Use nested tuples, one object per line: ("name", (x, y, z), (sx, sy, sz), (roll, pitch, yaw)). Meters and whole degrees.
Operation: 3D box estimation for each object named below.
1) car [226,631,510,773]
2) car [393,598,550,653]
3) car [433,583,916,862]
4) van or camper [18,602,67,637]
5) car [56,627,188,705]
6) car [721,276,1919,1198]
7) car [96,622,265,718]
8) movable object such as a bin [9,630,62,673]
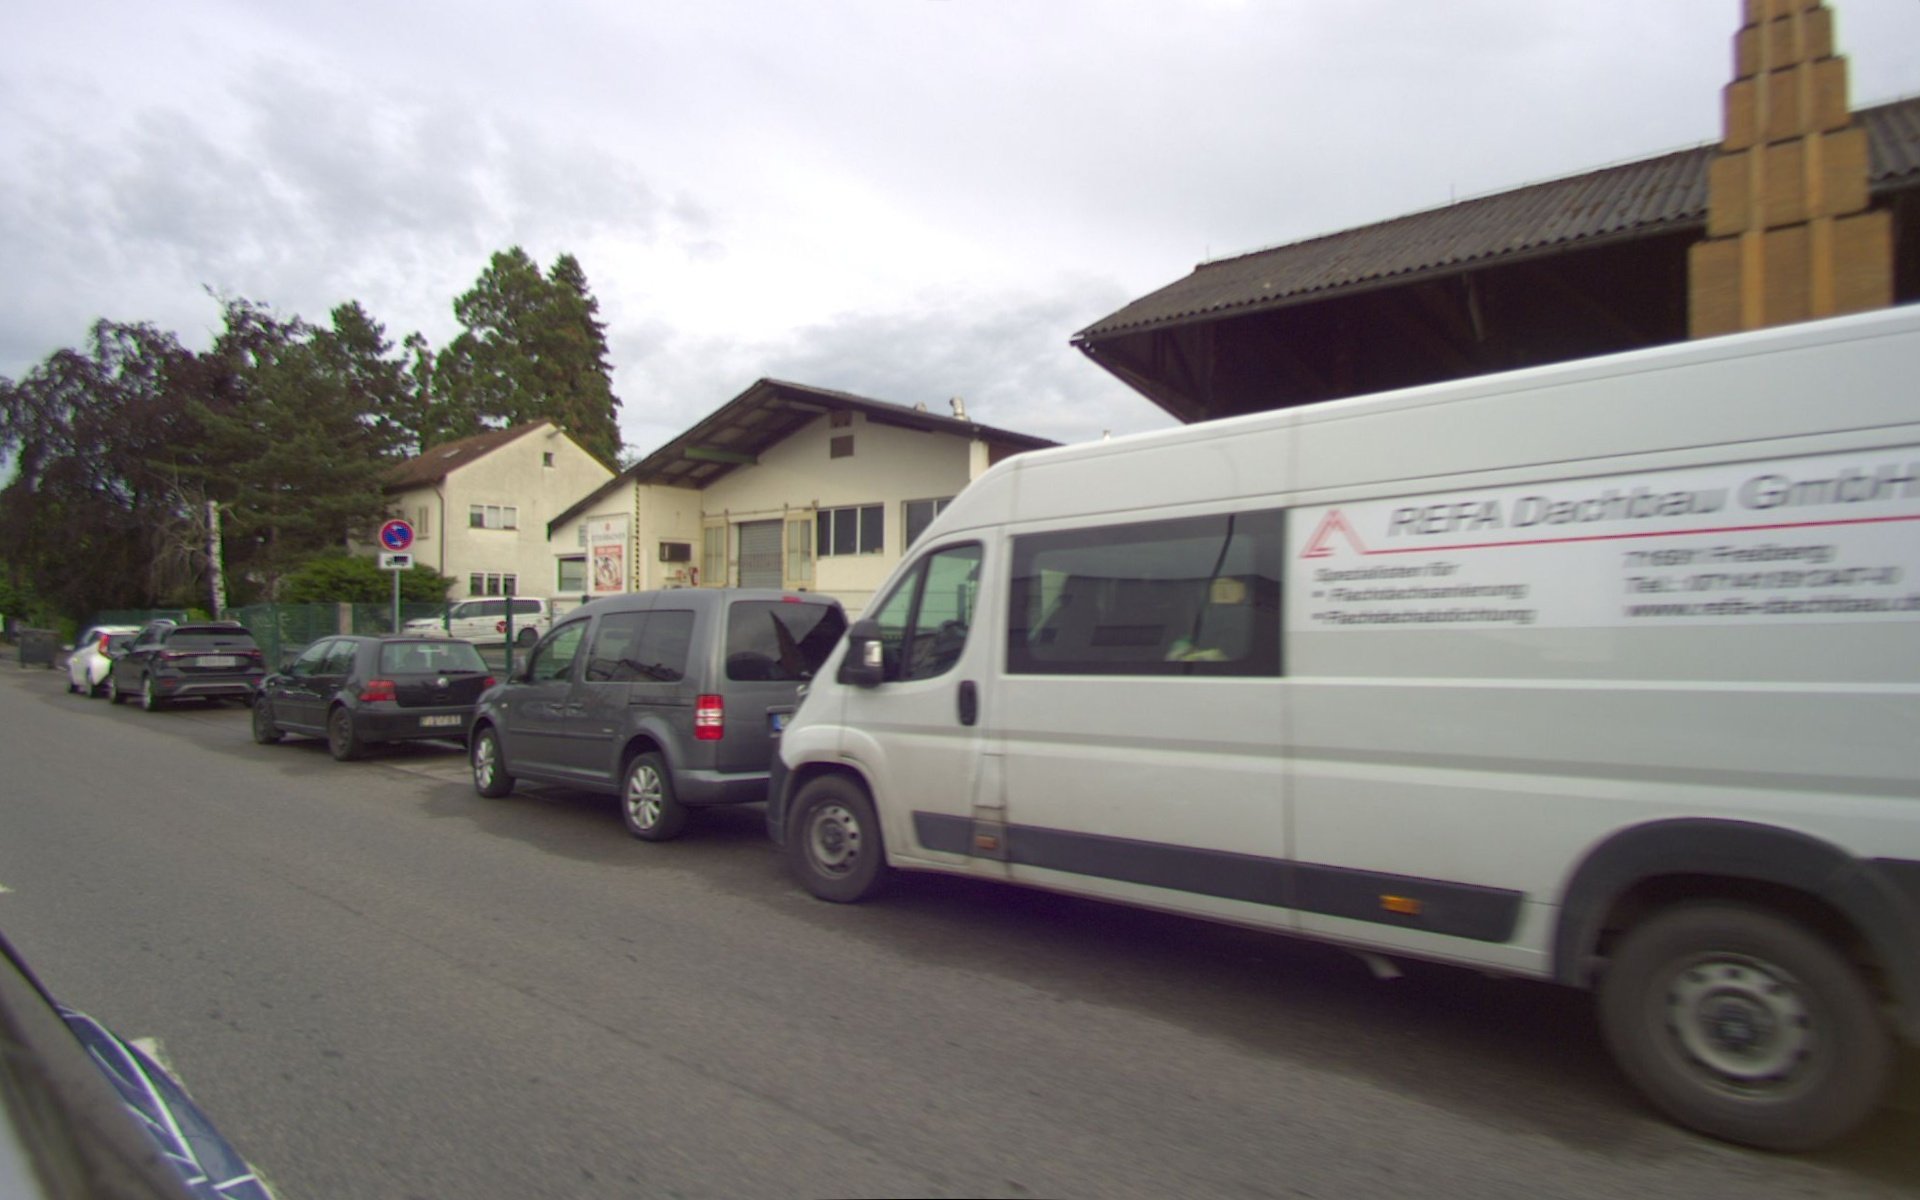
("car", (-7.551, 1.143, 12.737), (4.312, 1.459, 1.645), (-1, -2, 39))
("car", (-18.256, 0.899, 38.009), (2.000, 1.871, 4.945), (-1, 1, 42))
("car", (-2.607, 0.857, 8.623), (4.444, 1.782, 1.751), (-1, -4, 41))
("van or camper", (-68.751, 1.442, 75.819), (5.193, 2.509, 1.974), (-1, 1, 40))
("car", (-18.234, 1.367, 21.972), (3.658, 1.520, 1.599), (-1, -2, 41))
("car", (1.735, 0.431, 4.803), (6.455, 2.445, 2.136), (-1, -4, 41))
("car", (-14.573, 1.223, 18.850), (3.913, 1.596, 1.644), (-1, -2, 40))
("movable object such as a bin", (-30.418, 1.672, 33.306), (1.424, 1.320, 1.090), (-1, 1, 40))
